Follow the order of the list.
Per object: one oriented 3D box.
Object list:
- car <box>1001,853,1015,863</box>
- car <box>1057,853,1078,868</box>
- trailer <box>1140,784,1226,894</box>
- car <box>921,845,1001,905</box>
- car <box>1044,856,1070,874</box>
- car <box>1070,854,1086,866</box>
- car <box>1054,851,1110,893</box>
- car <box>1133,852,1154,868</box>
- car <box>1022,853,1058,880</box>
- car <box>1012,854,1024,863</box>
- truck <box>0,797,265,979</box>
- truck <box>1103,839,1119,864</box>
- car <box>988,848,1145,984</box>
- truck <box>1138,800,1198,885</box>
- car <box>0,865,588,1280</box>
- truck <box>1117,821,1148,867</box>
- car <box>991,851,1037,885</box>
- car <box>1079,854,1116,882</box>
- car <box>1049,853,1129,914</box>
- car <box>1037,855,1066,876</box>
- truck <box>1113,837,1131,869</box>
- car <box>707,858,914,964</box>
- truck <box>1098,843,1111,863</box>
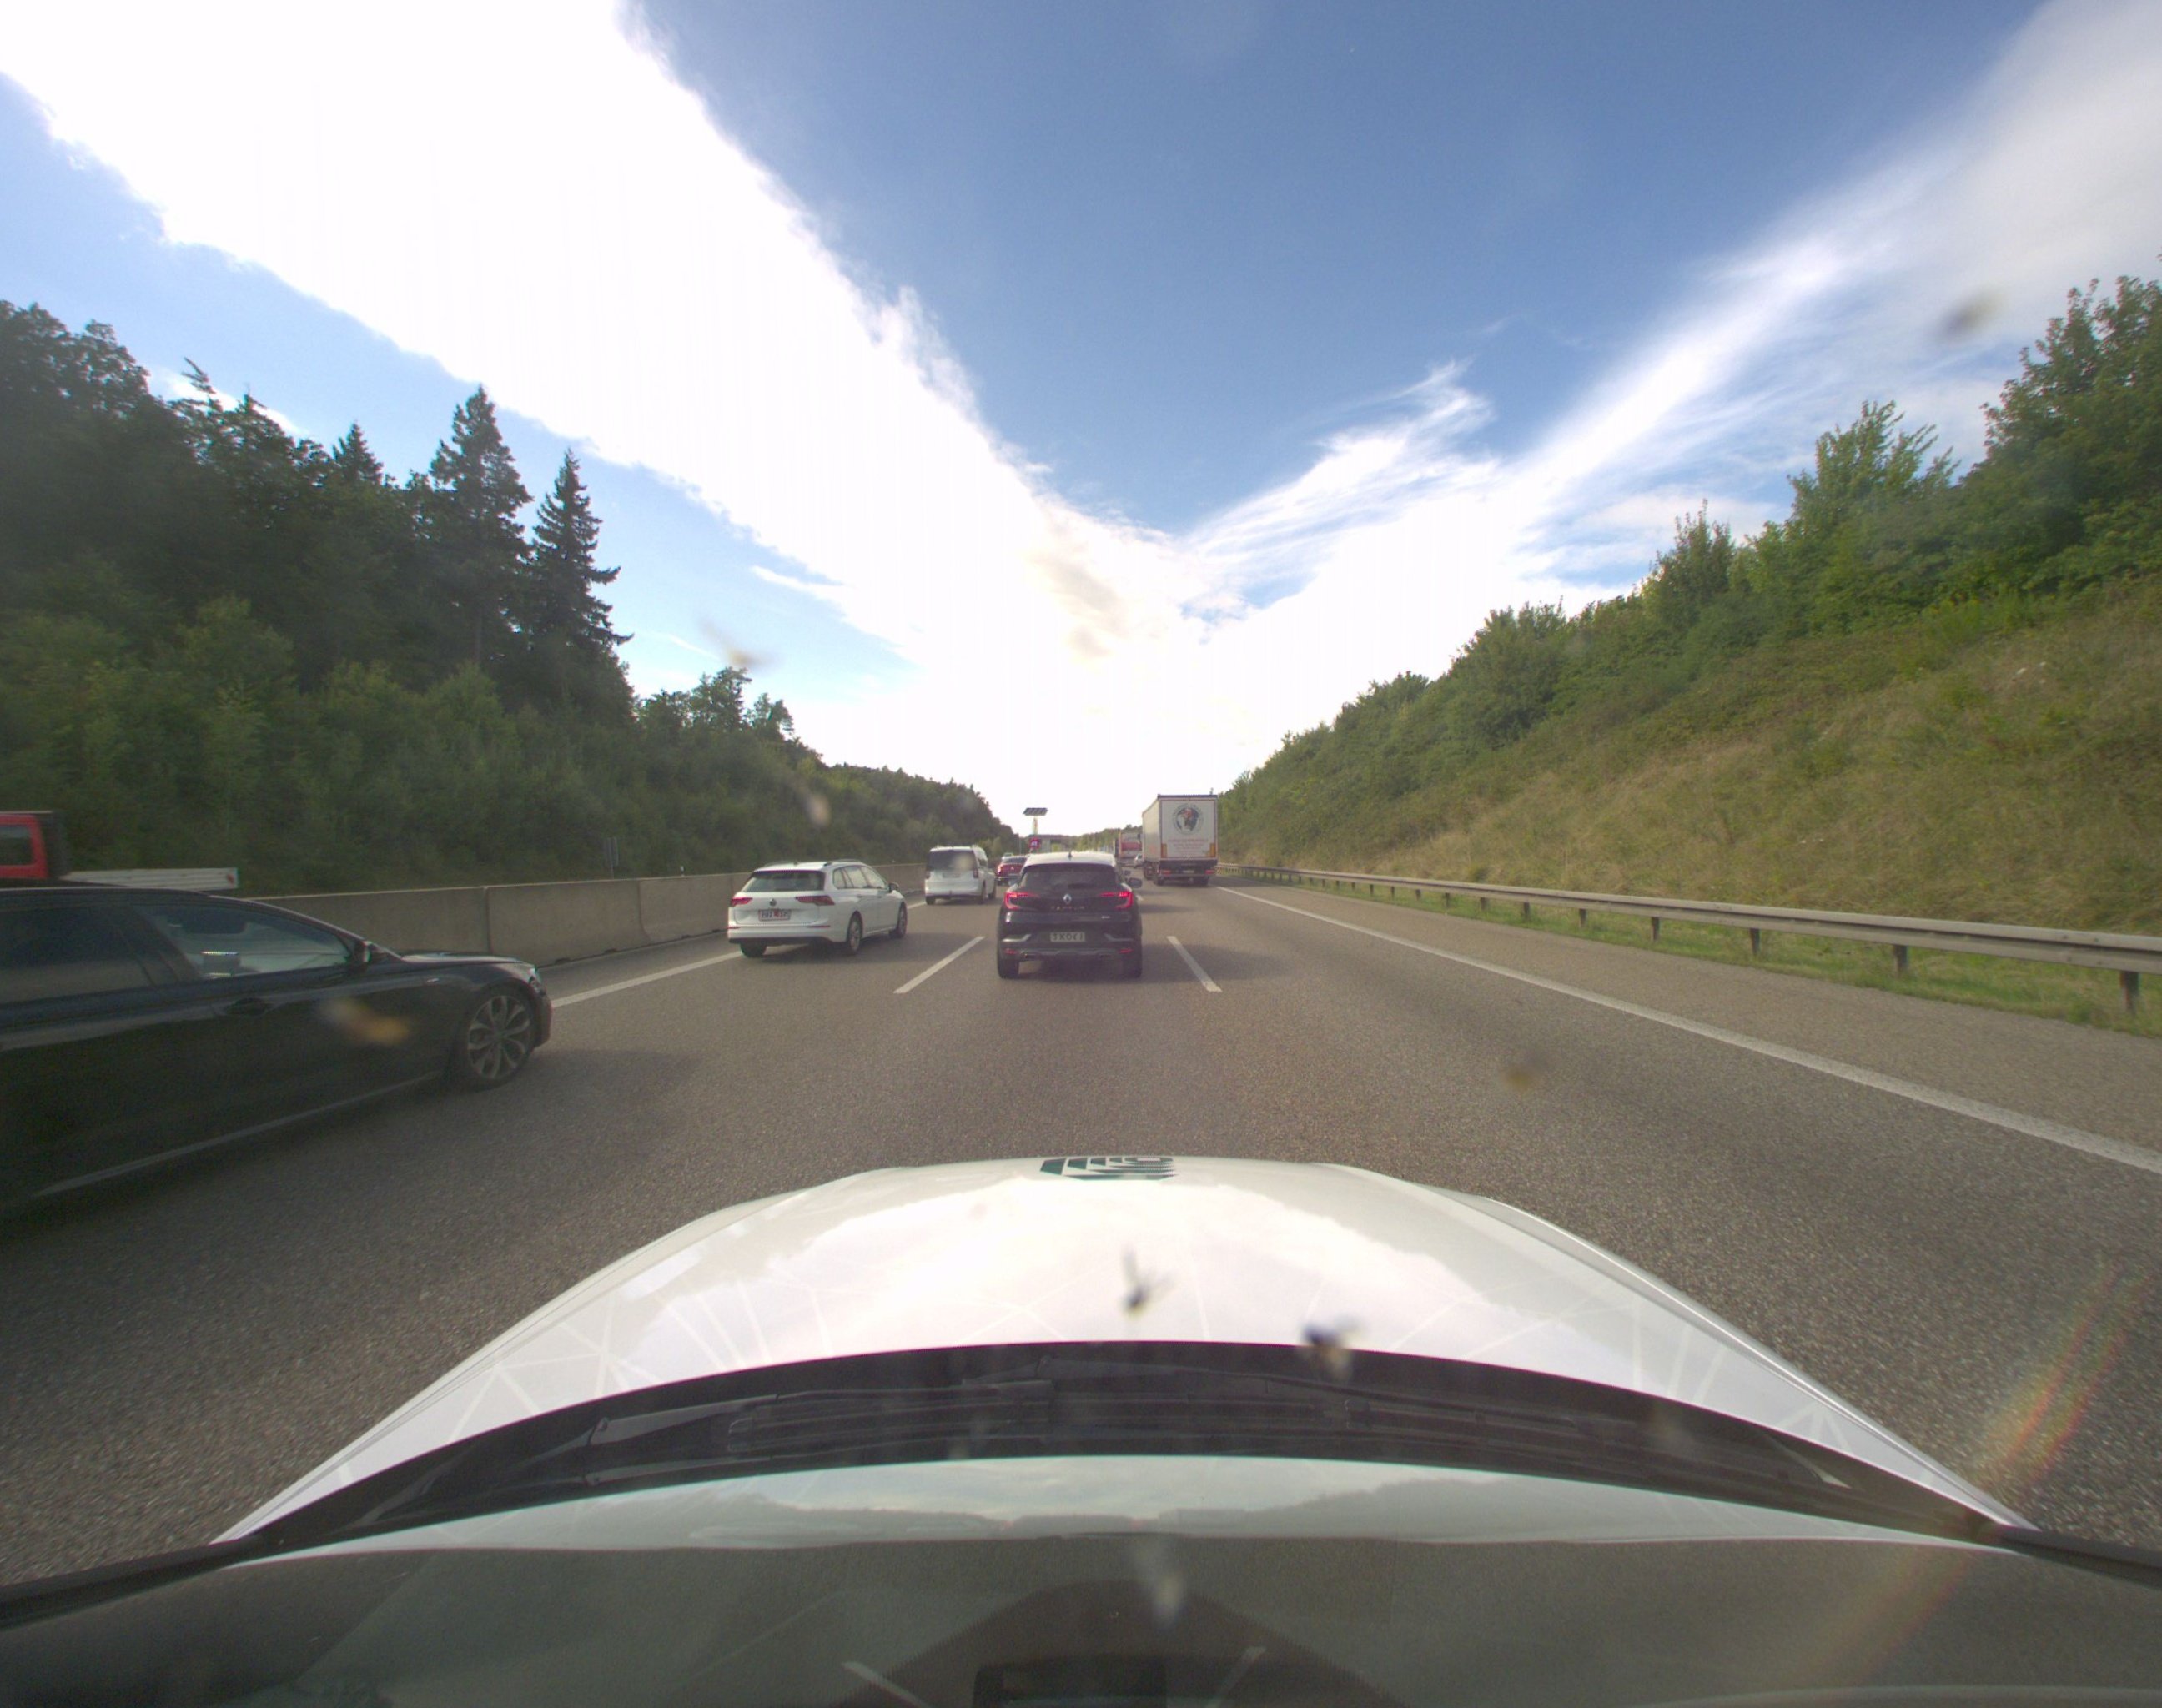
[{"bbox_3d":[-12.892,0.670,144.718,1.845,1.810,4.926,-1,0,2],"label":"car"},{"bbox_3d":[-1.439,0.707,88.476,1.986,1.613,4.002,-1,0,2],"label":"car"},{"bbox_3d":[4.811,-0.640,41.212,2.991,4.661,13.294,-1,0,2],"label":"trailer"},{"bbox_3d":[-3.843,0.652,26.789,1.905,1.789,4.418,-1,-1,1],"label":"car"},{"bbox_3d":[-2.142,0.992,73.950,1.986,1.613,4.002,-1,-1,2],"label":"car"},{"bbox_3d":[-0.428,0.765,111.352,1.986,1.613,4.002,-1,0,2],"label":"car"},{"bbox_3d":[0.111,0.660,31.639,1.986,1.514,4.002,-1,-1,2],"label":"car"},{"bbox_3d":[6.170,0.617,80.890,1.798,1.533,3.926,-1,-1,1],"label":"car"},{"bbox_3d":[-2.701,0.832,54.586,1.986,1.722,4.002,-1,-1,2],"label":"car"},{"bbox_3d":[-12.963,0.965,168.172,1.845,1.810,4.926,-1,0,2],"label":"car"},{"bbox_3d":[-18.154,0.546,13.608,2.414,2.855,6.433,-1,0,2],"label":"truck"},{"bbox_3d":[6.972,-0.453,187.502,3.152,5.505,12.751,-1,-1,4],"label":"truck"},{"bbox_3d":[-0.018,0.728,11.425,1.796,1.552,4.005,-1,0,4],"label":"car"},{"bbox_3d":[5.021,-0.653,48.150,2.986,4.667,5.941,-1,0,1],"label":"truck"},{"bbox_3d":[-4.814,0.829,3.917,1.835,1.456,4.750,-1,0,2],"label":"car"},{"bbox_3d":[5.997,-1.014,96.390,3.351,5.044,12.745,-1,-1,3],"label":"truck"},{"bbox_3d":[-3.367,0.710,41.521,1.848,1.641,3.928,-1,-1,3],"label":"car"},{"bbox_3d":[0.993,0.783,47.069,1.986,1.514,4.002,-1,-1,2],"label":"car"},{"bbox_3d":[0.279,0.747,22.247,1.986,1.514,4.002,-1,-1,2],"label":"car"},{"bbox_3d":[-2.368,0.930,66.416,1.986,1.613,4.002,-1,-1,2],"label":"car"},{"bbox_3d":[7.399,-0.091,146.719,3.154,5.505,12.745,-1,-1,3],"label":"truck"},{"bbox_3d":[-4.244,0.812,13.572,1.797,1.461,4.312,-1,0,3],"label":"car"},{"bbox_3d":[6.390,-0.210,222.372,3.154,5.159,12.745,-1,-1,3],"label":"truck"}]
